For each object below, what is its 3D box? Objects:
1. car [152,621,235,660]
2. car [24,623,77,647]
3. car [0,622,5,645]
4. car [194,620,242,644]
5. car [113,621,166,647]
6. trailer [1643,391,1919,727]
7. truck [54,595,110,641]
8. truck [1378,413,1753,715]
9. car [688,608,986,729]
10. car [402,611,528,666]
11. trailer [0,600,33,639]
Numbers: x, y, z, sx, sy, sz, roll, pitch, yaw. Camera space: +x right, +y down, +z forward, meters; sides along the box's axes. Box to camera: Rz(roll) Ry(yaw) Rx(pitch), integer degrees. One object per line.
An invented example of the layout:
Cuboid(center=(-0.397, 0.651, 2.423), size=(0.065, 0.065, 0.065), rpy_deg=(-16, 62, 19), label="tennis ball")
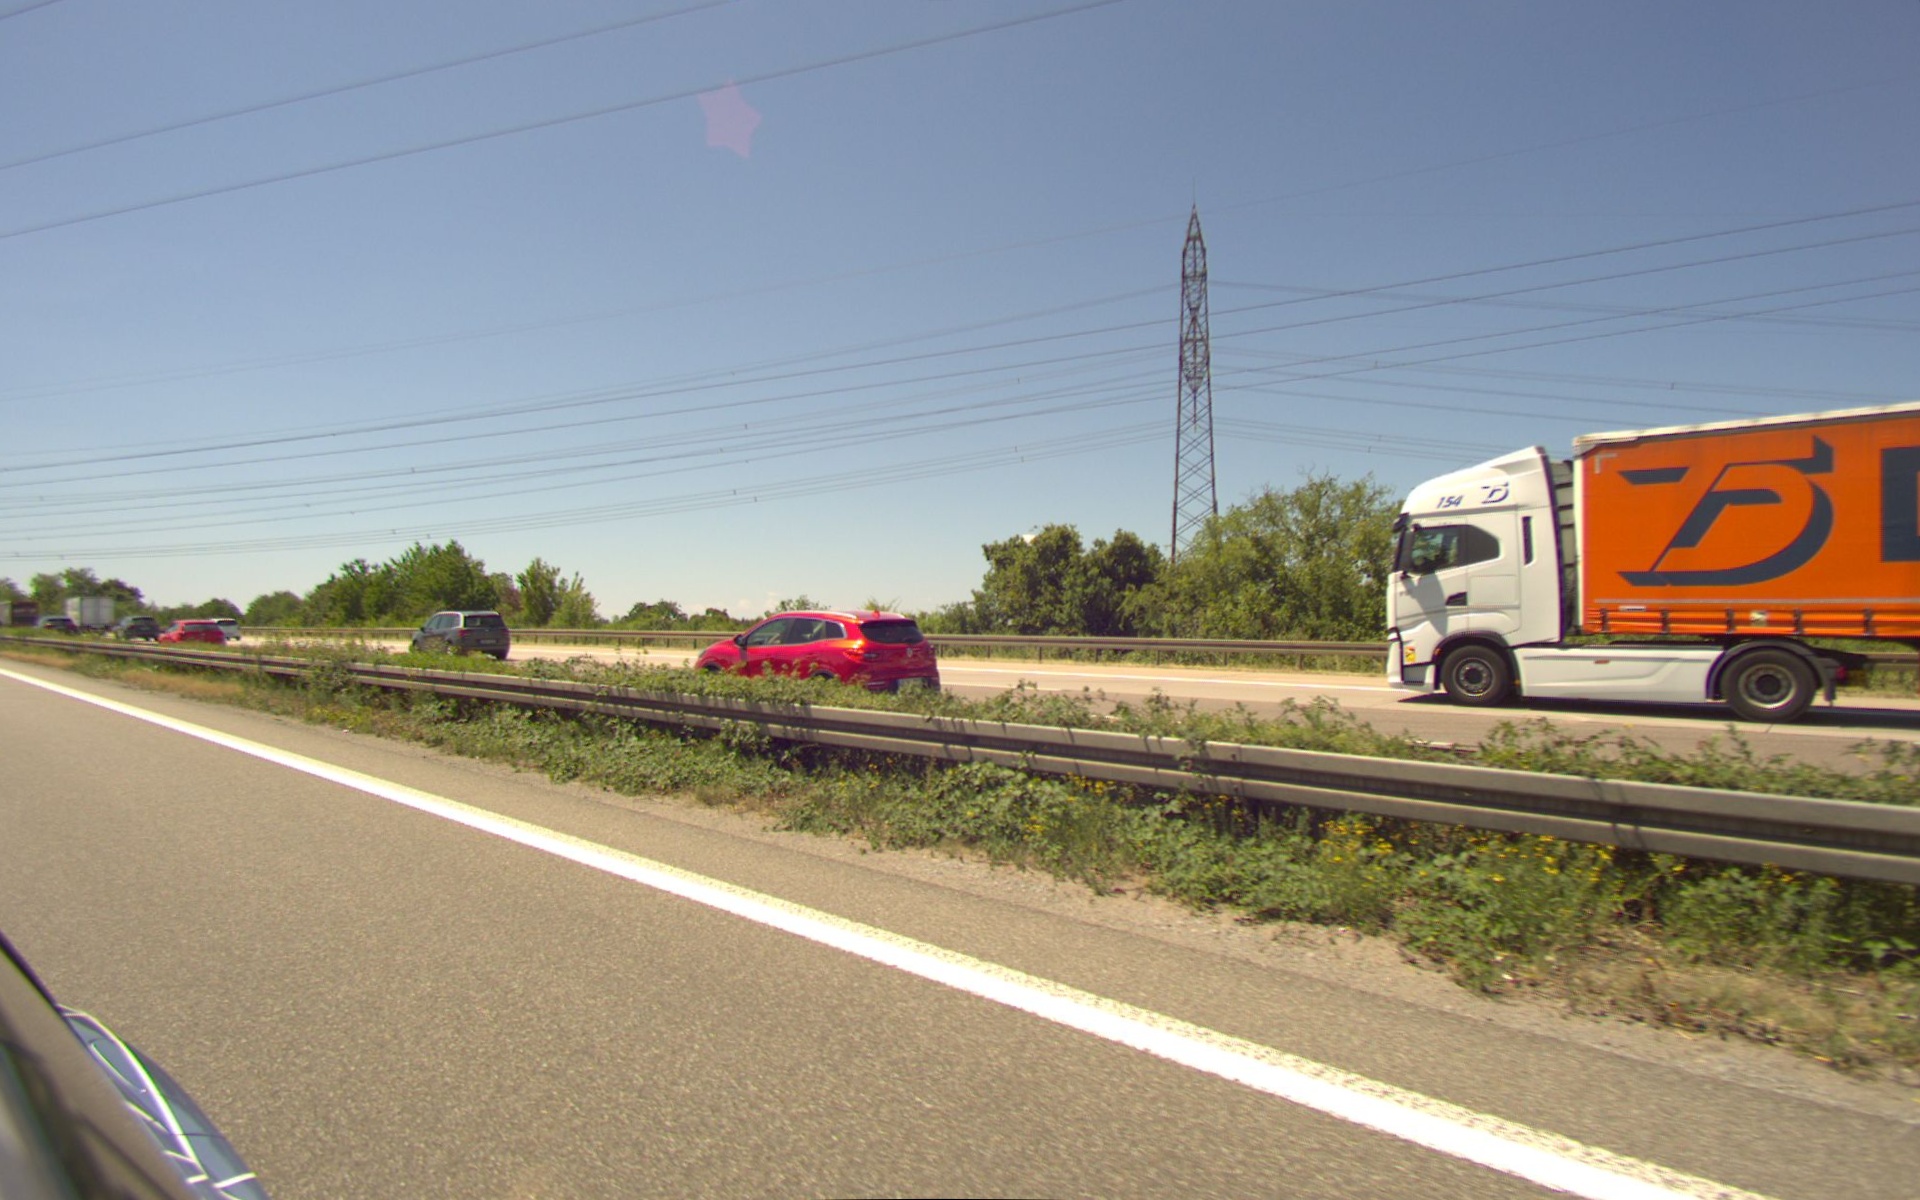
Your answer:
Cuboid(center=(-31.158, 1.597, 41.112), size=(3.958, 1.491, 1.884), rpy_deg=(-1, -1, 41), label="car")
Cuboid(center=(-59.010, 2.277, 65.639), size=(4.408, 1.446, 1.973), rpy_deg=(-2, -2, 41), label="car")
Cuboid(center=(-85.248, 2.981, 88.546), size=(4.283, 1.989, 1.973), rpy_deg=(-2, -2, 41), label="car")
Cuboid(center=(-49.862, 2.123, 67.987), size=(4.277, 1.544, 1.648), rpy_deg=(-1, -1, 41), label="car")
Cuboid(center=(-54.383, 2.258, 67.027), size=(4.408, 1.630, 1.973), rpy_deg=(-2, -2, 41), label="car")
Cuboid(center=(15.394, -0.551, 10.442), size=(13.585, 4.073, 2.479), rpy_deg=(-1, -1, 43), label="trailer")
Cuboid(center=(-81.897, 1.786, 94.336), size=(9.663, 4.007, 2.428), rpy_deg=(-2, -4, 40), label="truck")
Cuboid(center=(9.447, -0.432, 16.014), size=(4.602, 4.050, 2.455), rpy_deg=(-2, -1, 43), label="truck")
Cuboid(center=(-1.955, 0.922, 15.193), size=(4.445, 1.561, 1.973), rpy_deg=(-1, -1, 41), label="car")
Cuboid(center=(-16.418, 1.226, 33.444), size=(4.926, 1.686, 1.973), rpy_deg=(-1, -1, 41), label="car")
Cuboid(center=(-118.846, 2.578, 126.548), size=(13.854, 4.586, 2.622), rpy_deg=(-2, -2, 40), label="trailer")
